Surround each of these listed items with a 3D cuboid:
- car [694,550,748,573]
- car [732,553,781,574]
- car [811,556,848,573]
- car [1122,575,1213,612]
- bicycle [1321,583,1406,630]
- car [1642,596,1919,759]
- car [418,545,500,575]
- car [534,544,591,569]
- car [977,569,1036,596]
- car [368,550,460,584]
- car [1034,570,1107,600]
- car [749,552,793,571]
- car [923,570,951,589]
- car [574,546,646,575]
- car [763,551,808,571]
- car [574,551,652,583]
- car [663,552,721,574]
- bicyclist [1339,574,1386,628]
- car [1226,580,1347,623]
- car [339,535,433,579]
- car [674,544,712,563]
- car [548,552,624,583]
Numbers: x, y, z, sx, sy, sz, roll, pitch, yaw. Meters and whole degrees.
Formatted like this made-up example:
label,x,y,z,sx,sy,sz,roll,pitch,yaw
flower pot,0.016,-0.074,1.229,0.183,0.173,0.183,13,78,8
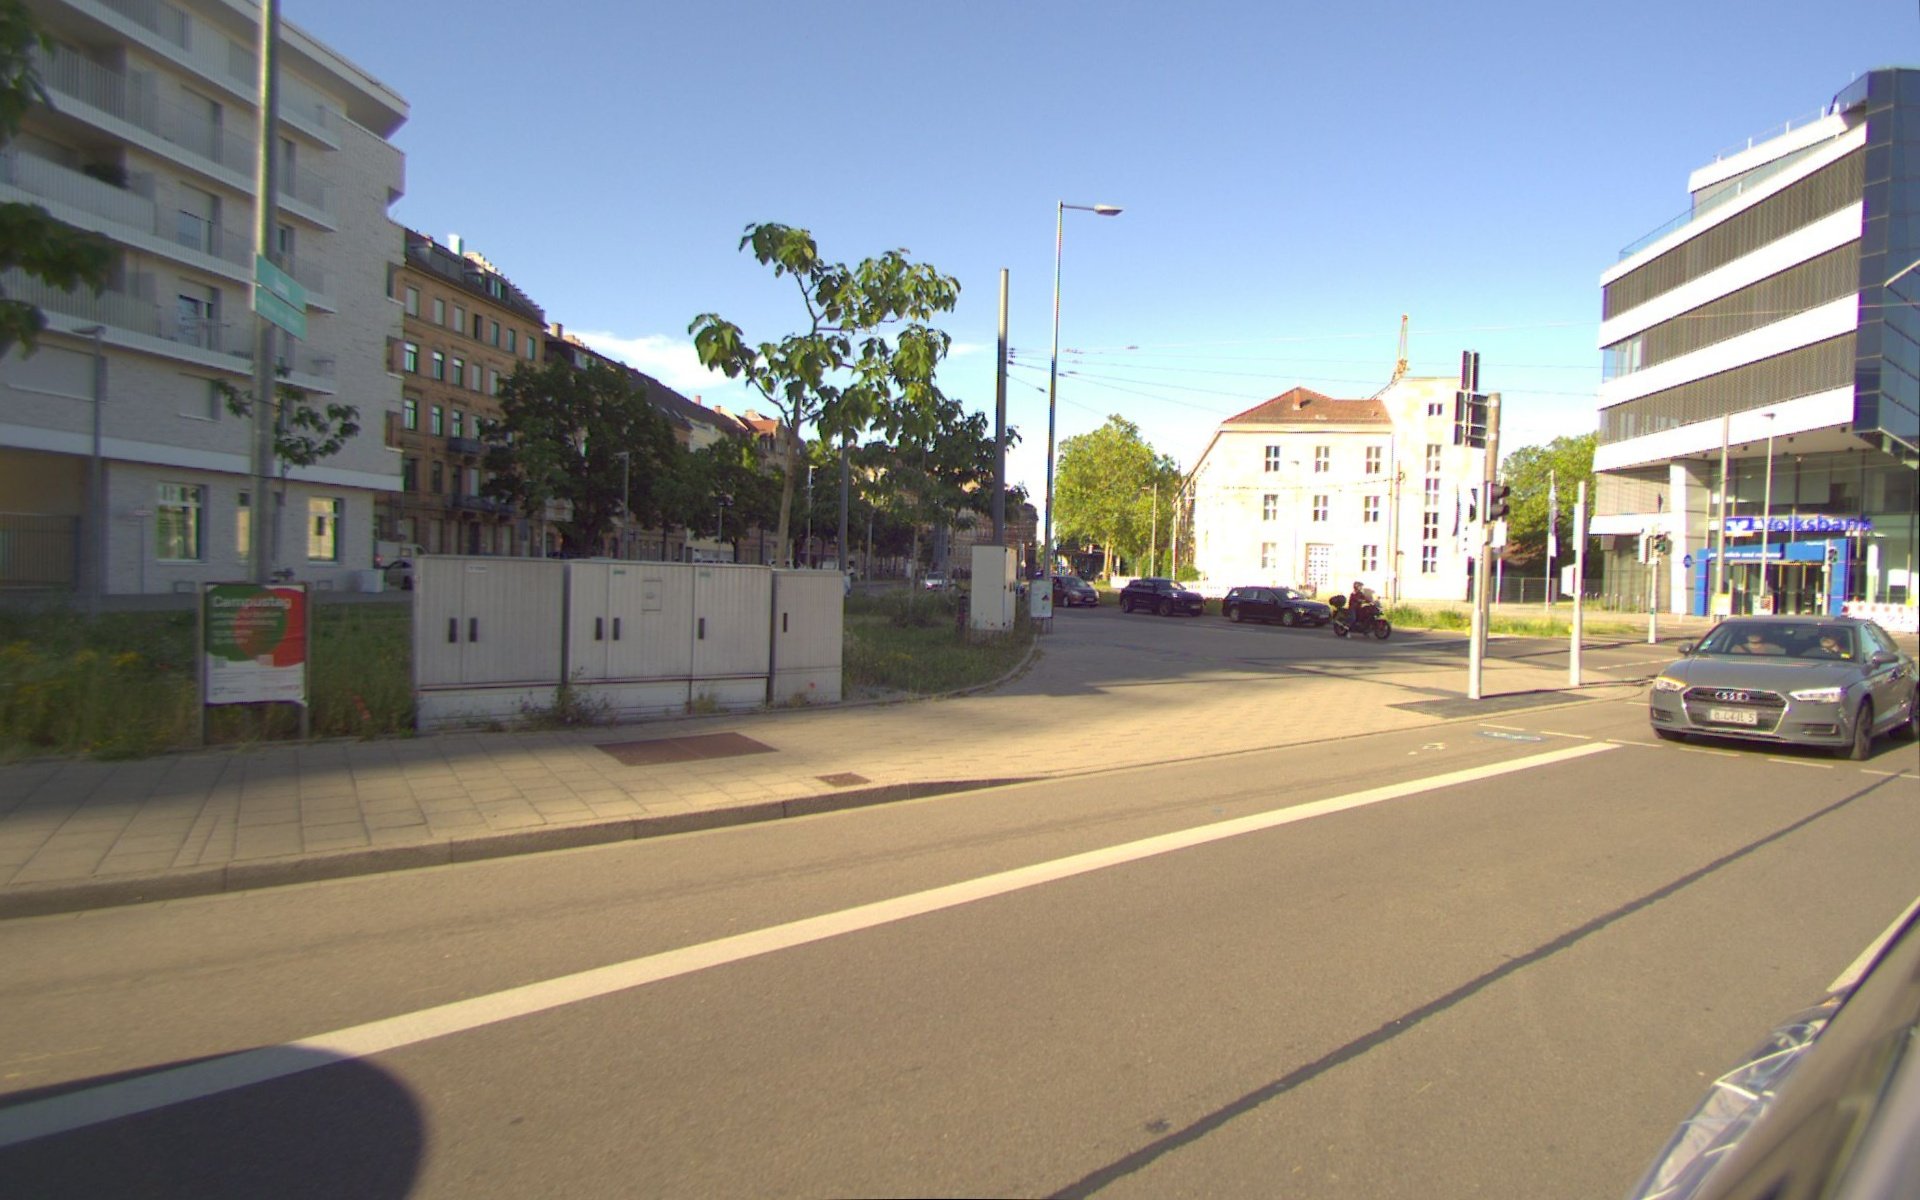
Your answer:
label,x,y,z,sx,sy,sz,roll,pitch,yaw
car,-19.373,-3.133,82.075,3.916,1.738,2.004,1,2,-24
car,-17.834,-3.201,88.665,3.916,1.738,2.004,1,2,-24
car,-15.175,-4.135,117.565,3.916,1.838,2.005,1,2,-22
car,9.119,-0.315,44.814,1.958,1.439,4.009,1,2,-24
bicycle,12.590,0.184,31.677,0.932,1.328,2.375,0,2,-31
car,9.343,0.706,11.144,4.033,1.459,1.716,0,1,-35
car,-31.337,-2.495,63.343,4.192,1.738,1.995,2,2,9
car,-29.056,-3.142,74.101,1.967,1.738,4.252,2,2,9
car,2.660,-1.049,58.833,1.958,1.439,4.537,1,2,-18
car,-24.532,-1.486,45.446,3.971,1.415,1.977,3,2,33
car,5.656,-0.789,52.184,1.958,1.439,4.009,1,2,-24
car,-18.665,-3.784,100.021,4.172,1.738,2.005,1,2,-14
car,-1.698,-1.486,73.375,1.961,1.259,4.003,1,2,-2
car,-22.041,-2.473,63.693,3.921,1.738,2.002,0,2,-32
car,-16.768,-3.752,97.486,3.916,1.738,2.005,1,2,-22
car,-19.959,-1.872,58.241,3.921,1.738,2.002,0,2,-32
car,-20.188,-2.797,76.198,3.916,1.504,2.004,1,2,-24
bicyclist,12.598,0.022,31.695,0.862,1.627,1.009,0,2,-31
car,12.320,0.026,38.463,1.958,1.439,4.304,1,2,-24
car,-31.321,-2.338,55.399,1.969,2.239,4.579,2,2,11
car,-25.767,-4.434,97.761,1.967,1.738,4.252,2,2,9
car,-22.330,-1.937,60.473,3.921,1.738,2.002,0,2,-32
